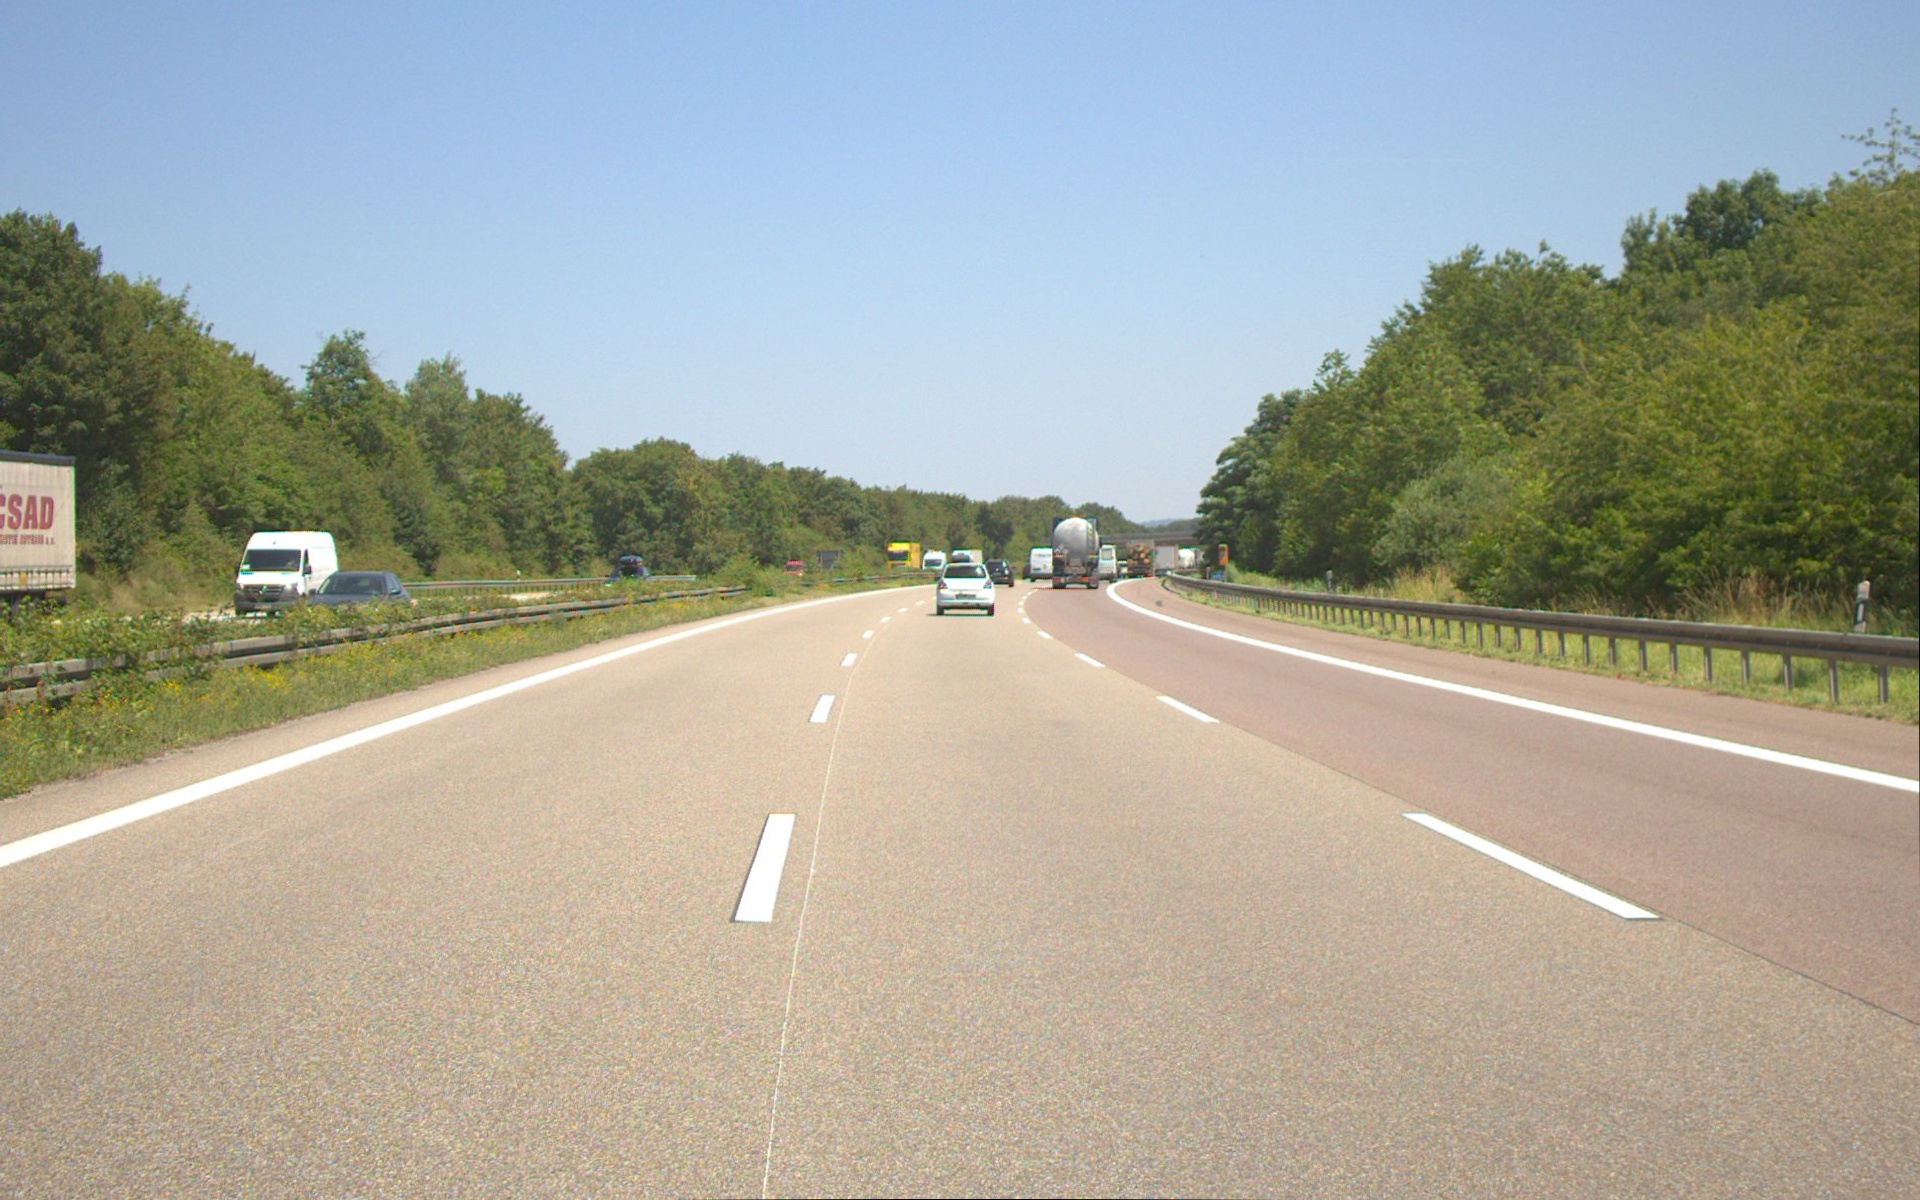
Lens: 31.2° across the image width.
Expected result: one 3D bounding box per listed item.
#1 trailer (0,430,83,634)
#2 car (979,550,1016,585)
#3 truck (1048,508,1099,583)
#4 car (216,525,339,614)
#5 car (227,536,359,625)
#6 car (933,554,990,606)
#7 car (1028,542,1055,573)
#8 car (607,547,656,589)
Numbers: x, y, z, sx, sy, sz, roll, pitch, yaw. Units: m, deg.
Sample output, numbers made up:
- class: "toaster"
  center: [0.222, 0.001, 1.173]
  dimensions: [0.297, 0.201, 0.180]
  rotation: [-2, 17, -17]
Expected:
- class: "trailer"
  center: [-20.994, -1.376, 70.005]
  dimensions: [2.706, 4.169, 13.559]
  rotation: [-1, 1, 0]
- class: "car"
  center: [2.228, -1.902, 203.255]
  dimensions: [1.994, 2.007, 4.000]
  rotation: [-1, 1, 4]
- class: "truck"
  center: [6.376, -2.987, 191.733]
  dimensions: [2.739, 4.038, 10.453]
  rotation: [0, 0, 3]
- class: "car"
  center: [-20.768, -0.954, 104.938]
  dimensions: [2.228, 2.568, 7.392]
  rotation: [-1, 1, 0]
- class: "car"
  center: [-14.699, -0.446, 76.001]
  dimensions: [1.993, 1.855, 4.956]
  rotation: [-1, 1, -1]
- class: "car"
  center: [0.039, -0.581, 100.891]
  dimensions: [1.627, 1.474, 4.000]
  rotation: [0, 0, 0]
- class: "car"
  center: [6.100, -3.191, 257.318]
  dimensions: [1.993, 2.335, 4.387]
  rotation: [0, 1, 2]
- class: "car"
  center: [-15.104, -1.488, 158.203]
  dimensions: [1.826, 1.899, 4.957]
  rotation: [0, 1, -1]
